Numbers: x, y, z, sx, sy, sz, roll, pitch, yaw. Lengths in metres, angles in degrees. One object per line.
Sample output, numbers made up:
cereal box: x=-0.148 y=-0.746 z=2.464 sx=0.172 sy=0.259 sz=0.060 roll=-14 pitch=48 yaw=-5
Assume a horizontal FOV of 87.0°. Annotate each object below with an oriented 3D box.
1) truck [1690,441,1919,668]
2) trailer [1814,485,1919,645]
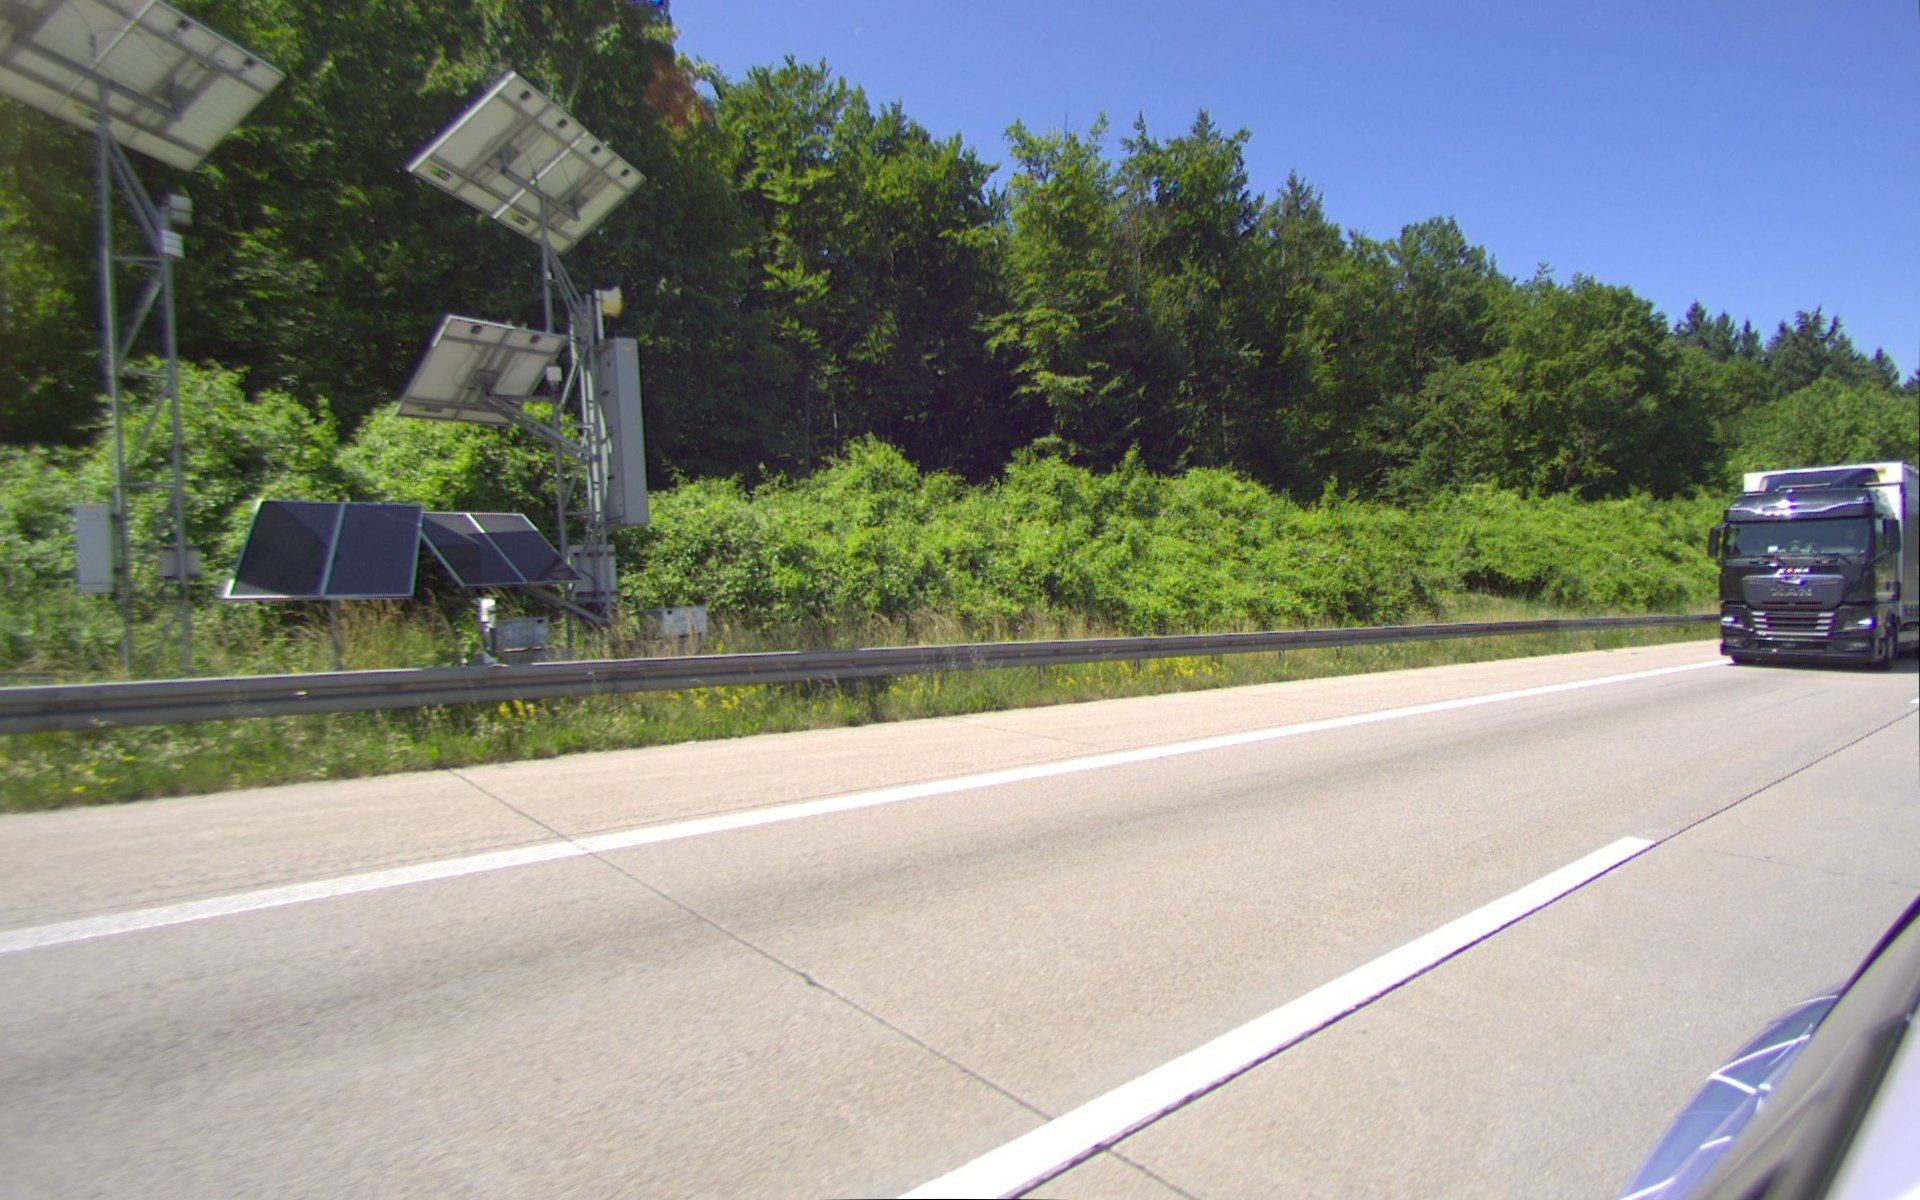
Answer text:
truck: x=19.918 y=-0.852 z=22.699 sx=10.416 sy=4.068 sz=3.167 roll=0 pitch=0 yaw=-39
trailer: x=27.440 y=-0.912 z=28.818 sx=8.924 sy=4.068 sz=3.142 roll=0 pitch=0 yaw=-39
